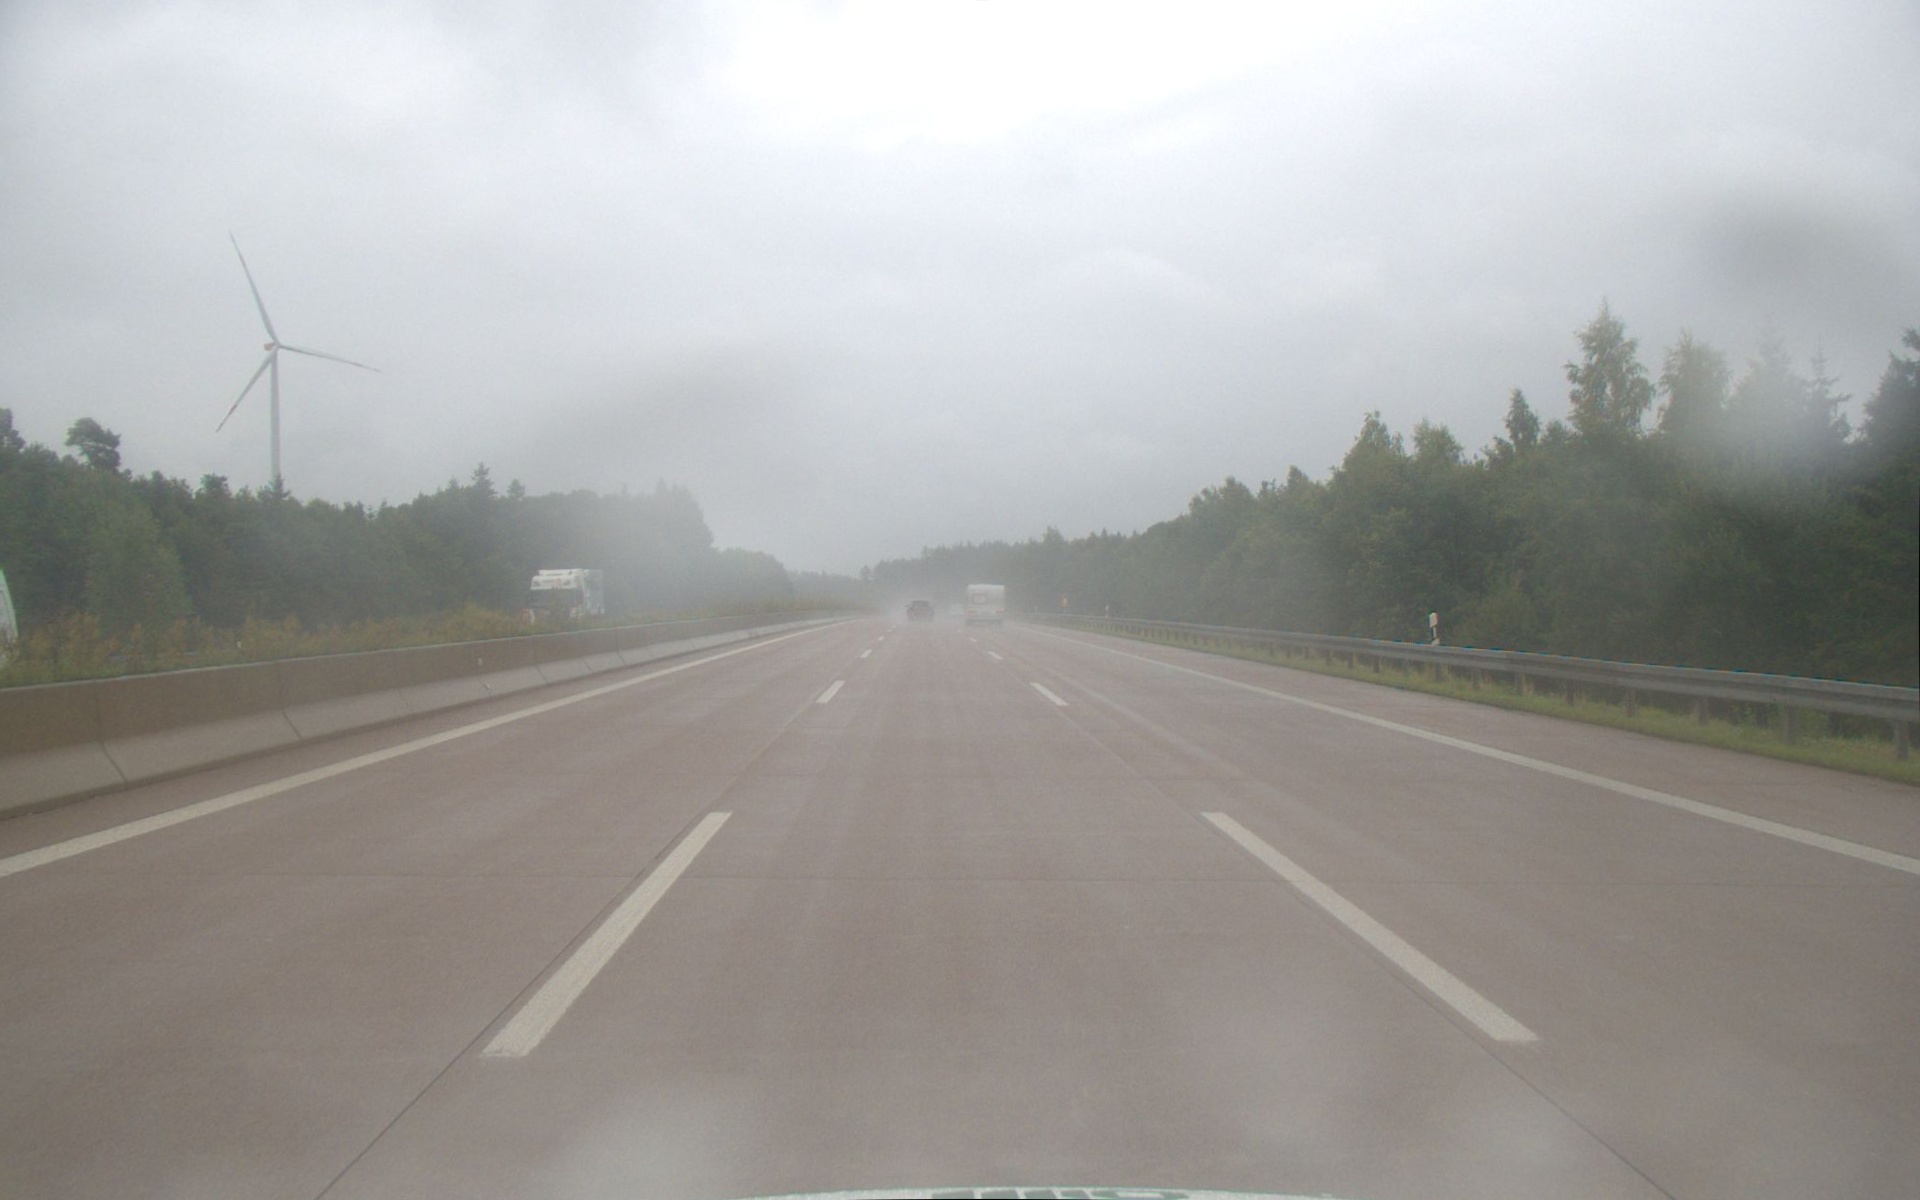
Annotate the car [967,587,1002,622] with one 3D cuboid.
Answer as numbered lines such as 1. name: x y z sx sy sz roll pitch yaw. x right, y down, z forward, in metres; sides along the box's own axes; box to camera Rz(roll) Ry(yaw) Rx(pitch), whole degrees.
1. car: 1.505 0.270 101.874 2.016 2.035 4.098 1 0 -1

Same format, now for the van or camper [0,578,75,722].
1. van or camper: -16.050 0.782 25.427 2.087 2.244 5.718 0 0 -3

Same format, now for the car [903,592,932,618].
1. car: -2.896 0.342 113.576 1.897 1.760 4.129 0 0 -1

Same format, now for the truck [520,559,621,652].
1. truck: -20.508 0.277 87.733 3.081 4.550 9.556 2 0 -1
